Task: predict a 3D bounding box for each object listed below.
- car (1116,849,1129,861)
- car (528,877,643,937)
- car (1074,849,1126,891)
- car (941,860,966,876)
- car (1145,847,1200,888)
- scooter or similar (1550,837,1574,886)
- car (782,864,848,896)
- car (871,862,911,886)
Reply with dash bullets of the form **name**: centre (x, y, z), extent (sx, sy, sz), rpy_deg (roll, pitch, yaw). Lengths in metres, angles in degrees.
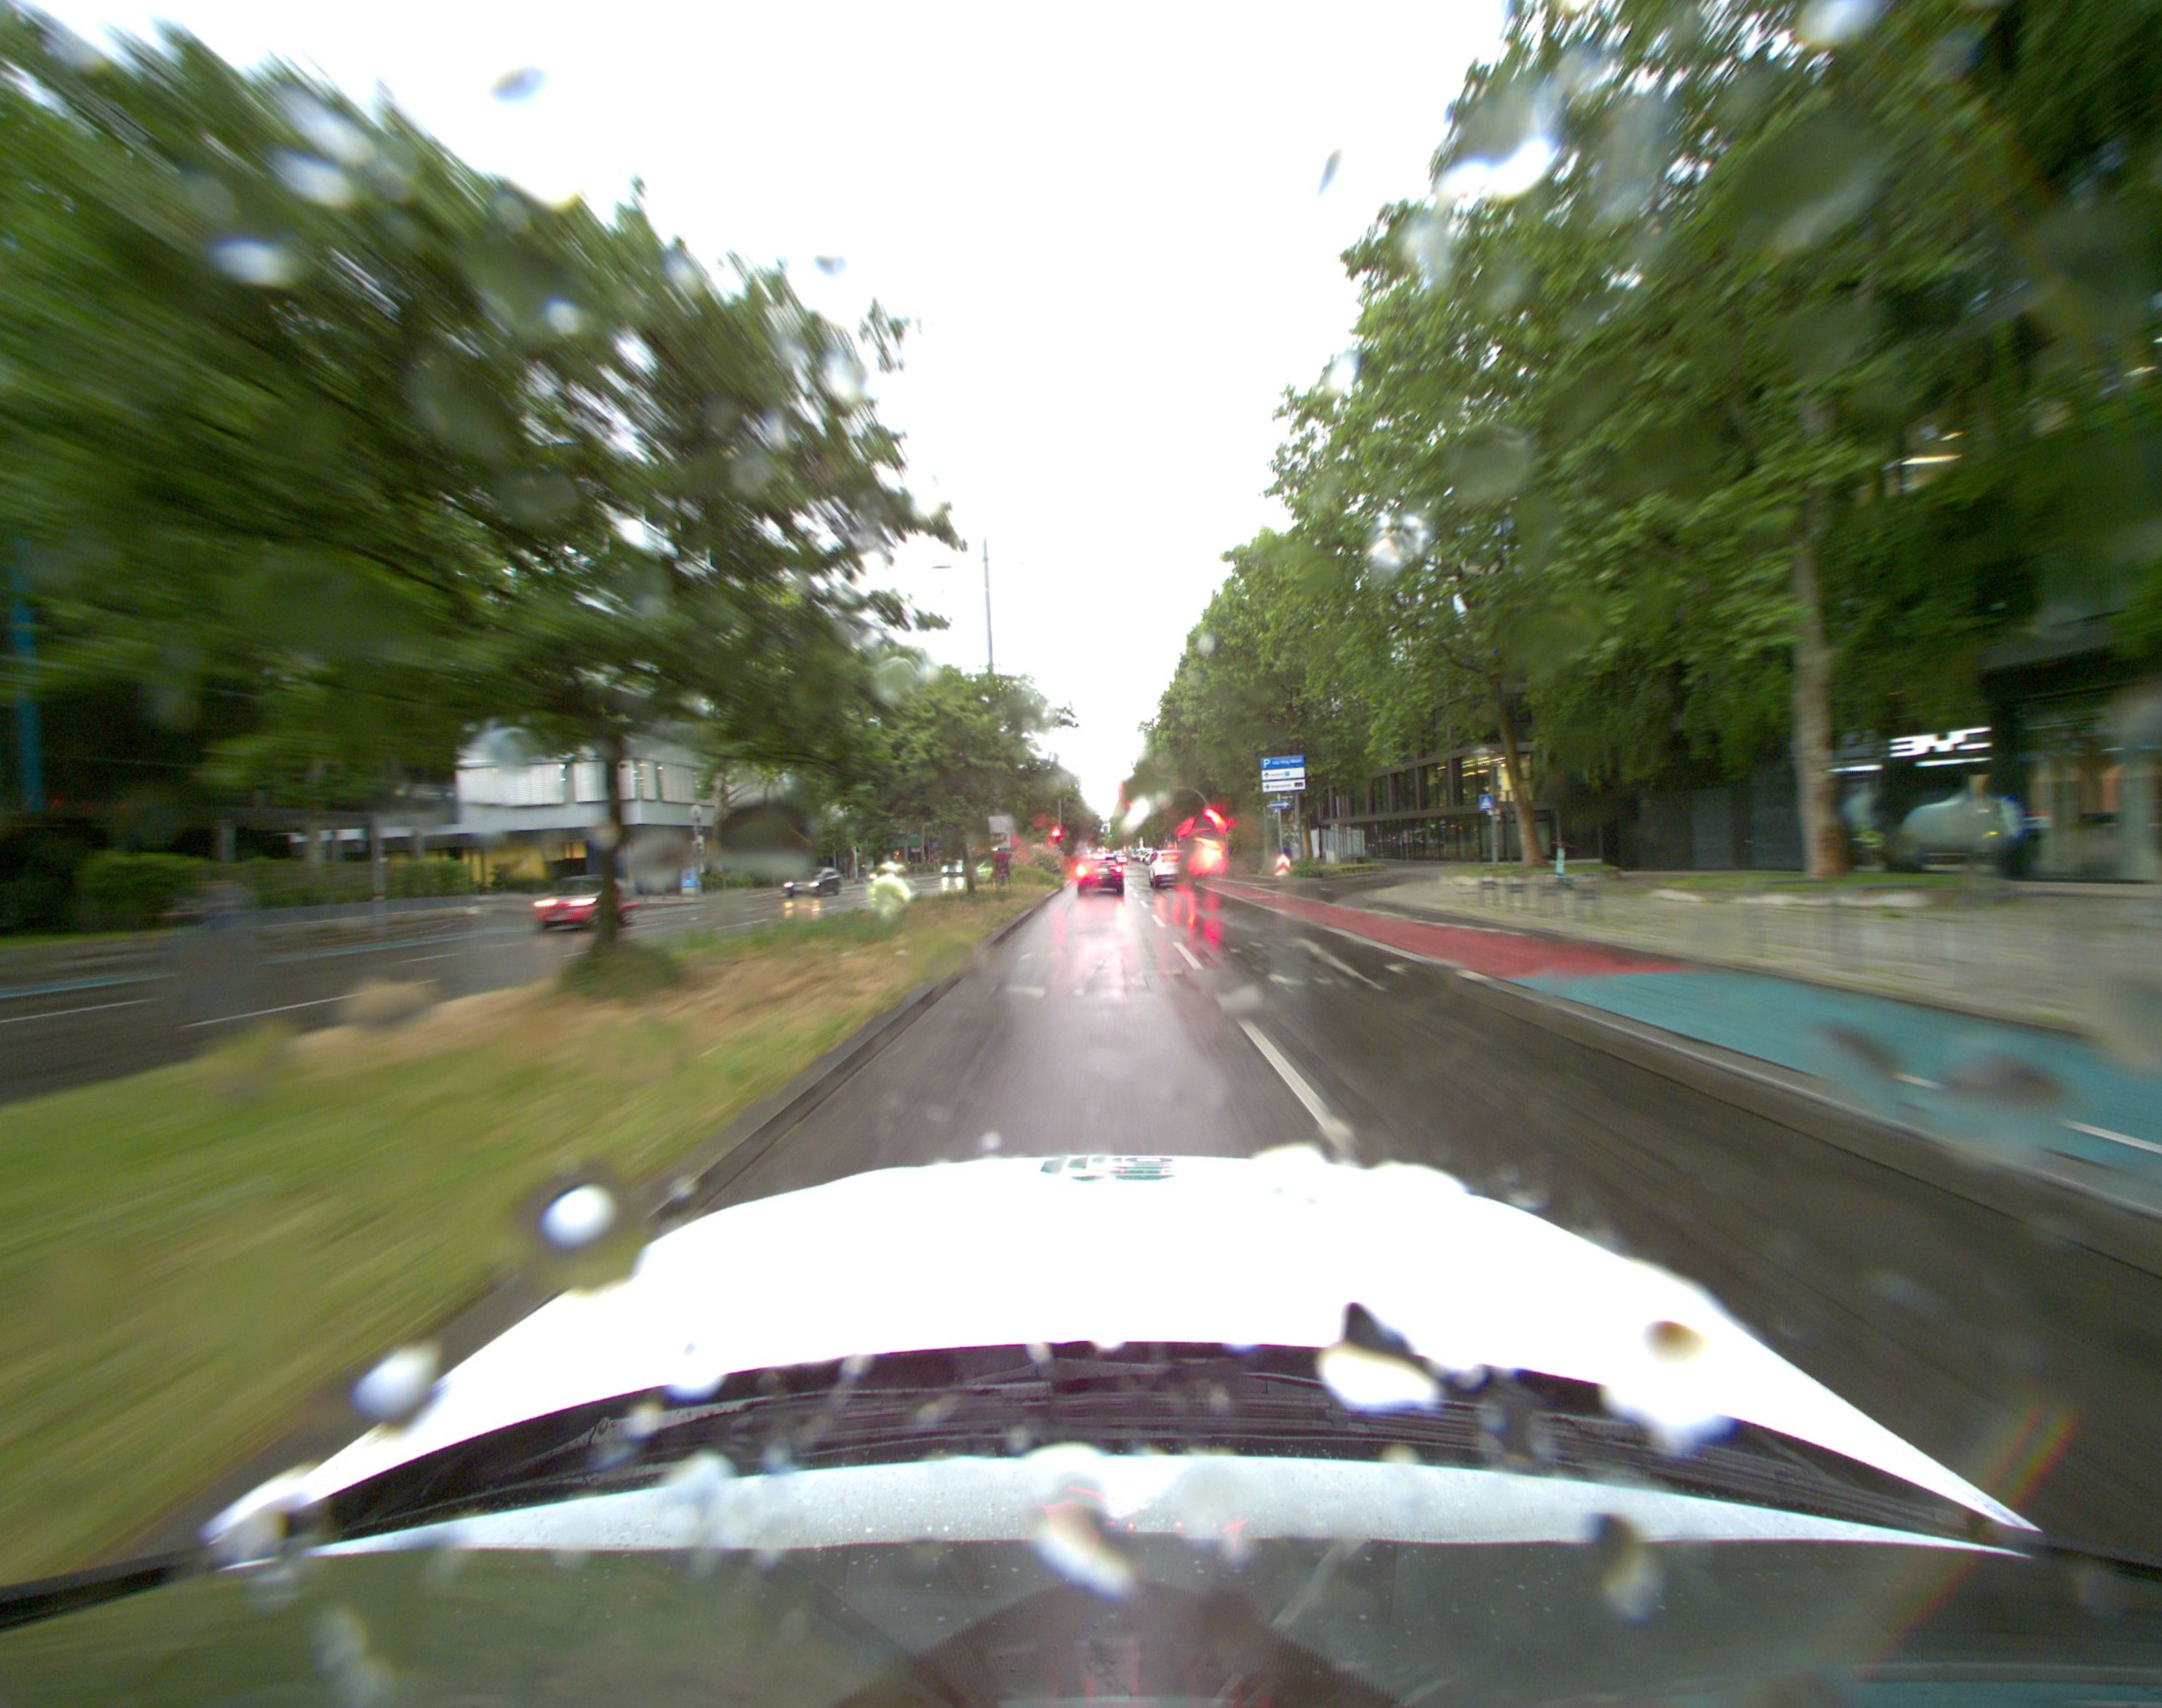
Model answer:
- **car**: centre (6.102, 0.145, 120.272), extent (1.615, 1.666, 4.001), rpy_deg (-3, 0, 1)
- **car**: centre (-14.174, 1.473, 23.461), extent (1.488, 1.463, 2.733), rpy_deg (-2, 0, 2)
- **car**: centre (0.752, 0.608, 32.723), extent (1.912, 1.491, 4.001), rpy_deg (-3, 0, 1)
- **car**: centre (-12.027, 1.330, 77.069), extent (1.609, 1.394, 3.598), rpy_deg (-3, 0, 1)
- **car**: centre (4.057, 0.542, 37.016), extent (1.986, 1.655, 4.890), rpy_deg (-2, 1, 1)
- **scooter or similar**: centre (12.504, 0.188, 21.163), extent (0.377, 1.228, 1.086), rpy_deg (-2, 0, 37)
- **car**: centre (-13.284, 1.272, 40.914), extent (1.837, 1.389, 4.001), rpy_deg (-3, 0, 1)
- **car**: centre (-12.921, 1.334, 55.595), extent (1.609, 1.394, 4.185), rpy_deg (-2, 1, 1)
